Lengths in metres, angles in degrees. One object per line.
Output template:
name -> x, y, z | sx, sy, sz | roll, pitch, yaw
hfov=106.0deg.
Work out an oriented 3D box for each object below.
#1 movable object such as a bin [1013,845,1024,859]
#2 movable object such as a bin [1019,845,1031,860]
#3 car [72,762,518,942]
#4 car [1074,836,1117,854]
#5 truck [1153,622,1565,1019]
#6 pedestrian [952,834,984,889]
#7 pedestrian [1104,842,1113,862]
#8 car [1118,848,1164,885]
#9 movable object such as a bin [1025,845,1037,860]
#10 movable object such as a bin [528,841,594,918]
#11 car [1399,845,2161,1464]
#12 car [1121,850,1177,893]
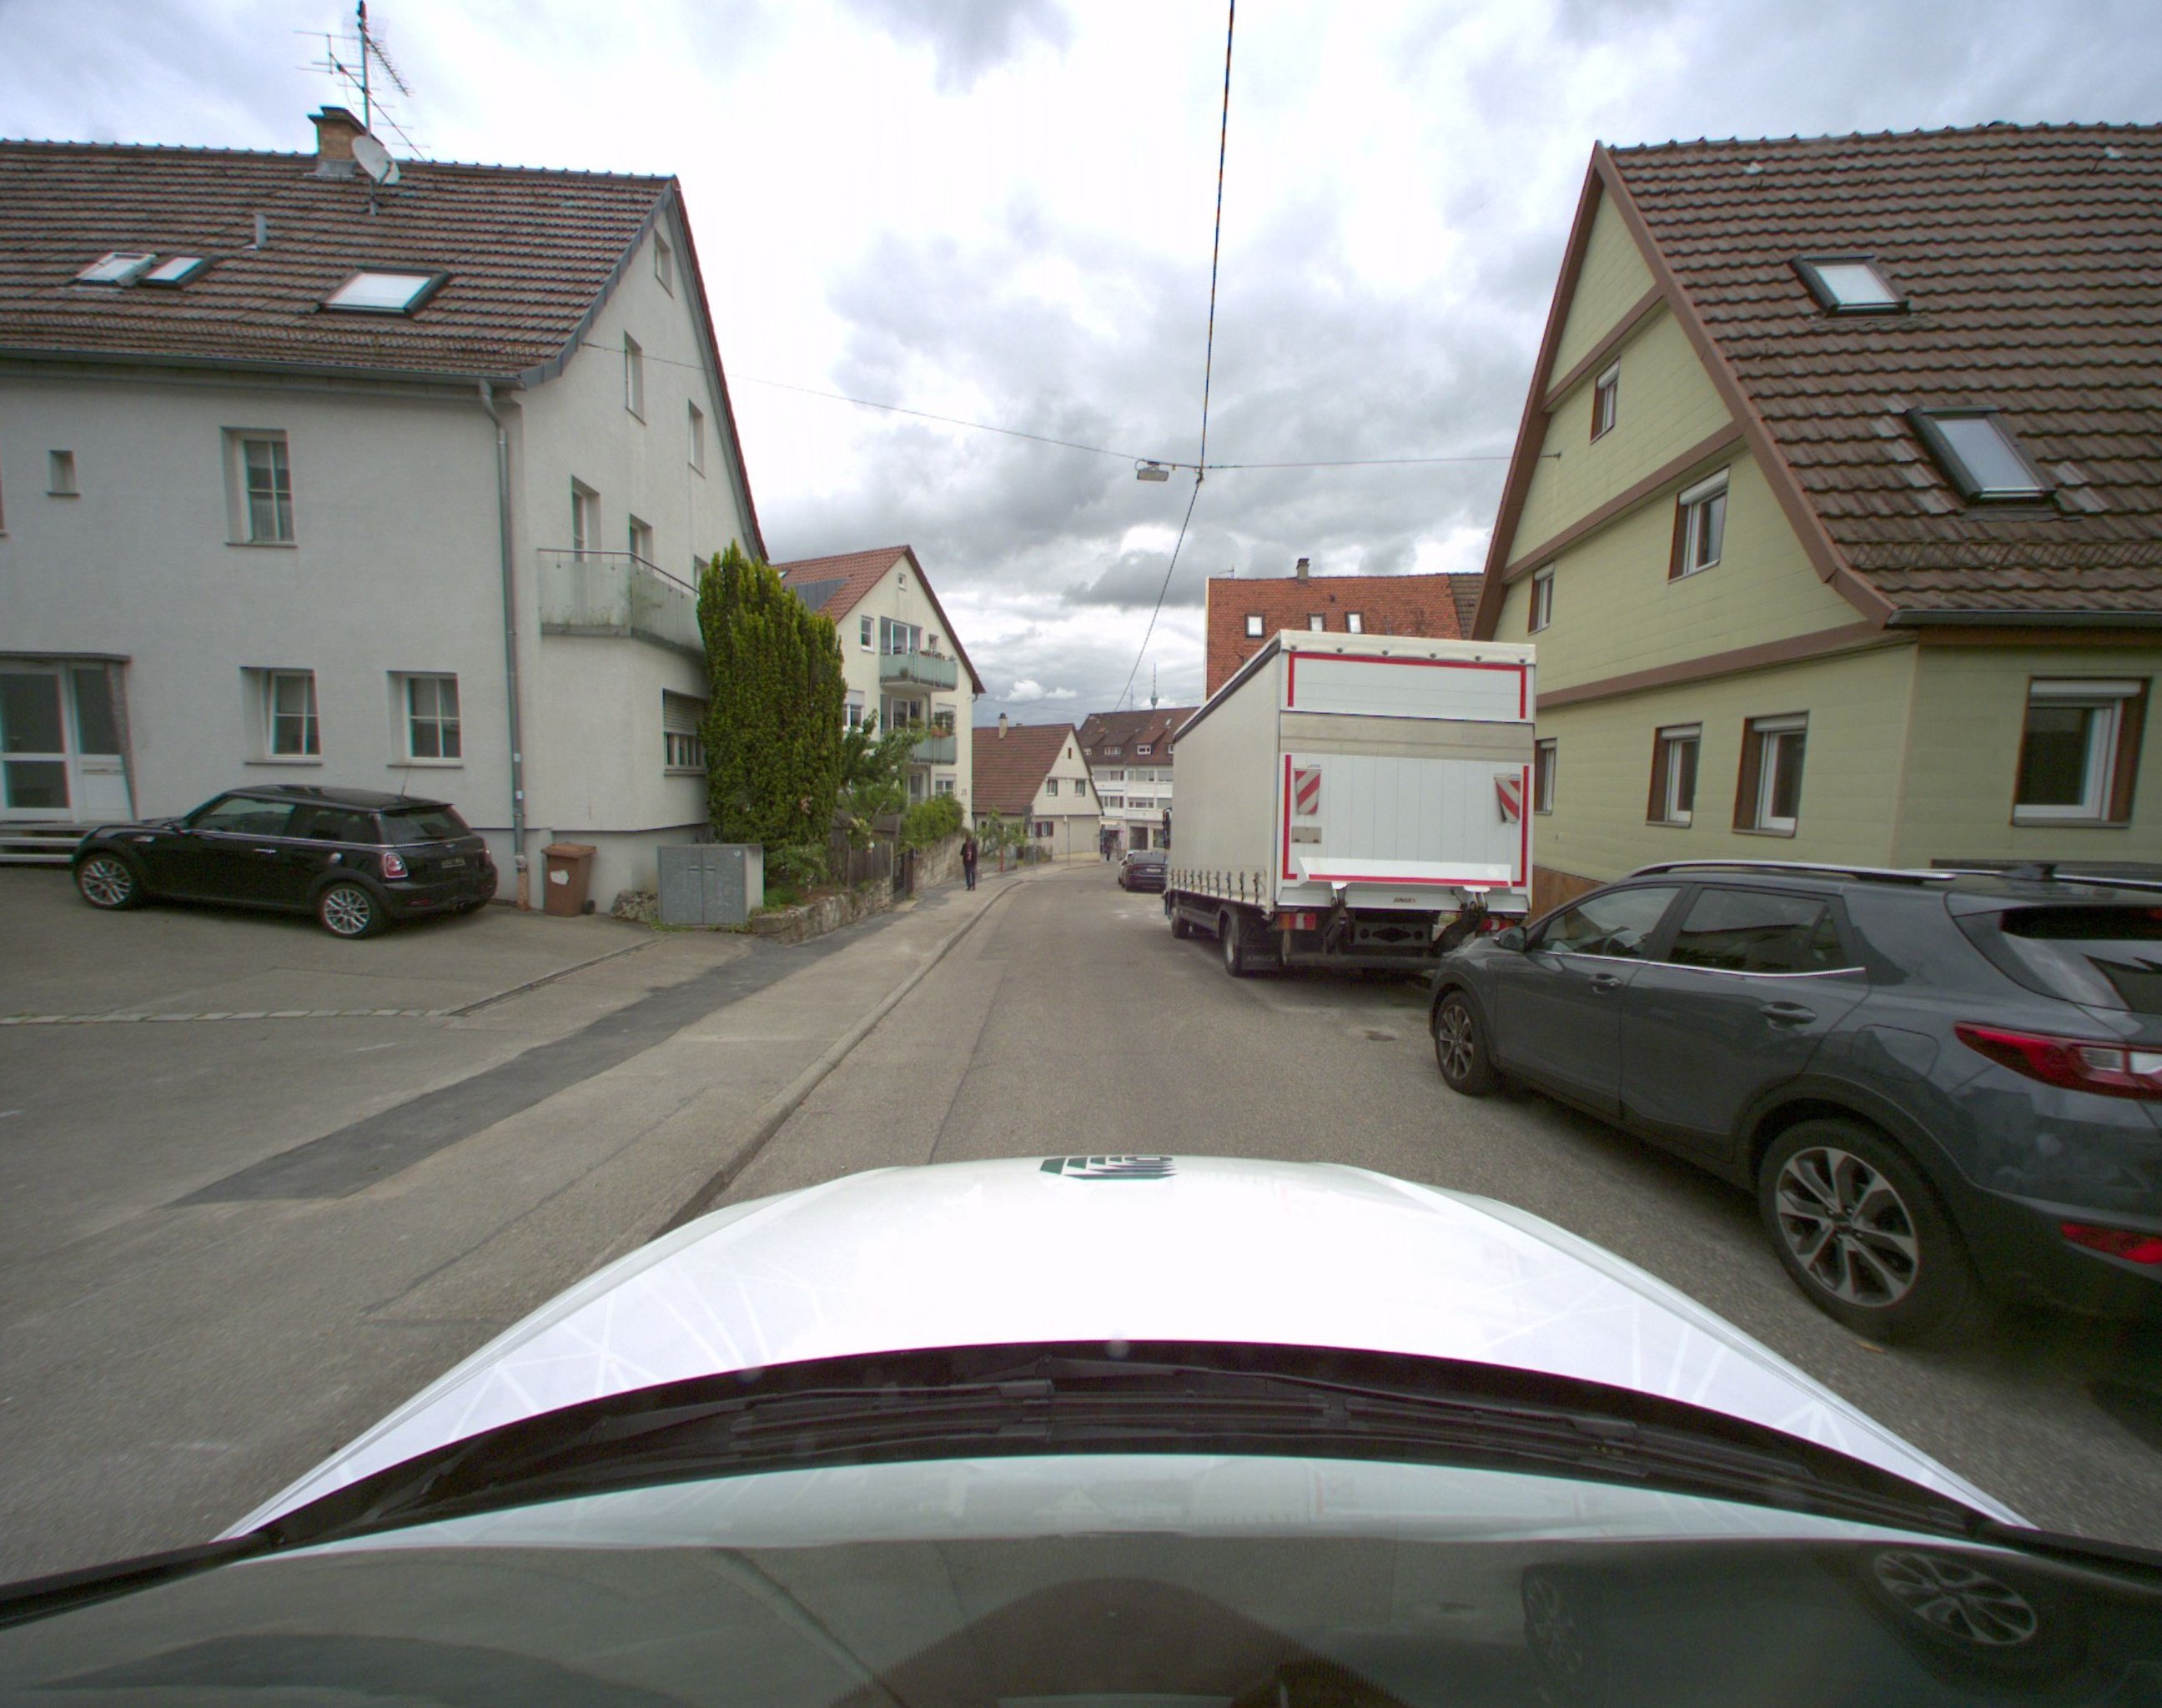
movable object such as a bin -> -4.185, -0.156, 54.840 | 0.490, 0.877, 0.455 | 6, 1, 34
movable object such as a bin -> -3.762, -0.105, 54.499 | 0.522, 0.917, 0.493 | 6, 1, 33
car -> -8.726, -0.084, 9.265 | 3.391, 1.468, 1.626 | 7, 5, -1
car -> 1.468, -0.997, 85.439 | 4.315, 1.779, 1.959 | 3, 3, 43
truck -> 2.952, -0.336, 11.585 | 2.670, 3.597, 8.097 | 2, 0, -3
pedestrian -> -3.597, 0.245, 25.960 | 0.838, 1.677, 0.976 | 3, 0, -2
pedestrian -> 2.369, -0.214, 69.901 | 0.646, 1.684, 0.602 | 1, 2, -9
car -> 2.548, 0.501, 35.349 | 1.788, 1.445, 4.300 | 3, 0, 2
movable object such as a bin -> -3.322, -0.097, 54.233 | 0.522, 0.884, 0.493 | 6, 1, 33
movable object such as a bin -> -6.792, 0.325, 10.649 | 0.511, 0.901, 0.431 | 8, 6, -3
car -> 3.296, 0.773, 4.049 | 1.728, 1.506, 4.049 | 3, 0, -1
car -> 2.424, 0.592, 29.909 | 1.668, 1.408, 4.051 | 3, 0, 0
